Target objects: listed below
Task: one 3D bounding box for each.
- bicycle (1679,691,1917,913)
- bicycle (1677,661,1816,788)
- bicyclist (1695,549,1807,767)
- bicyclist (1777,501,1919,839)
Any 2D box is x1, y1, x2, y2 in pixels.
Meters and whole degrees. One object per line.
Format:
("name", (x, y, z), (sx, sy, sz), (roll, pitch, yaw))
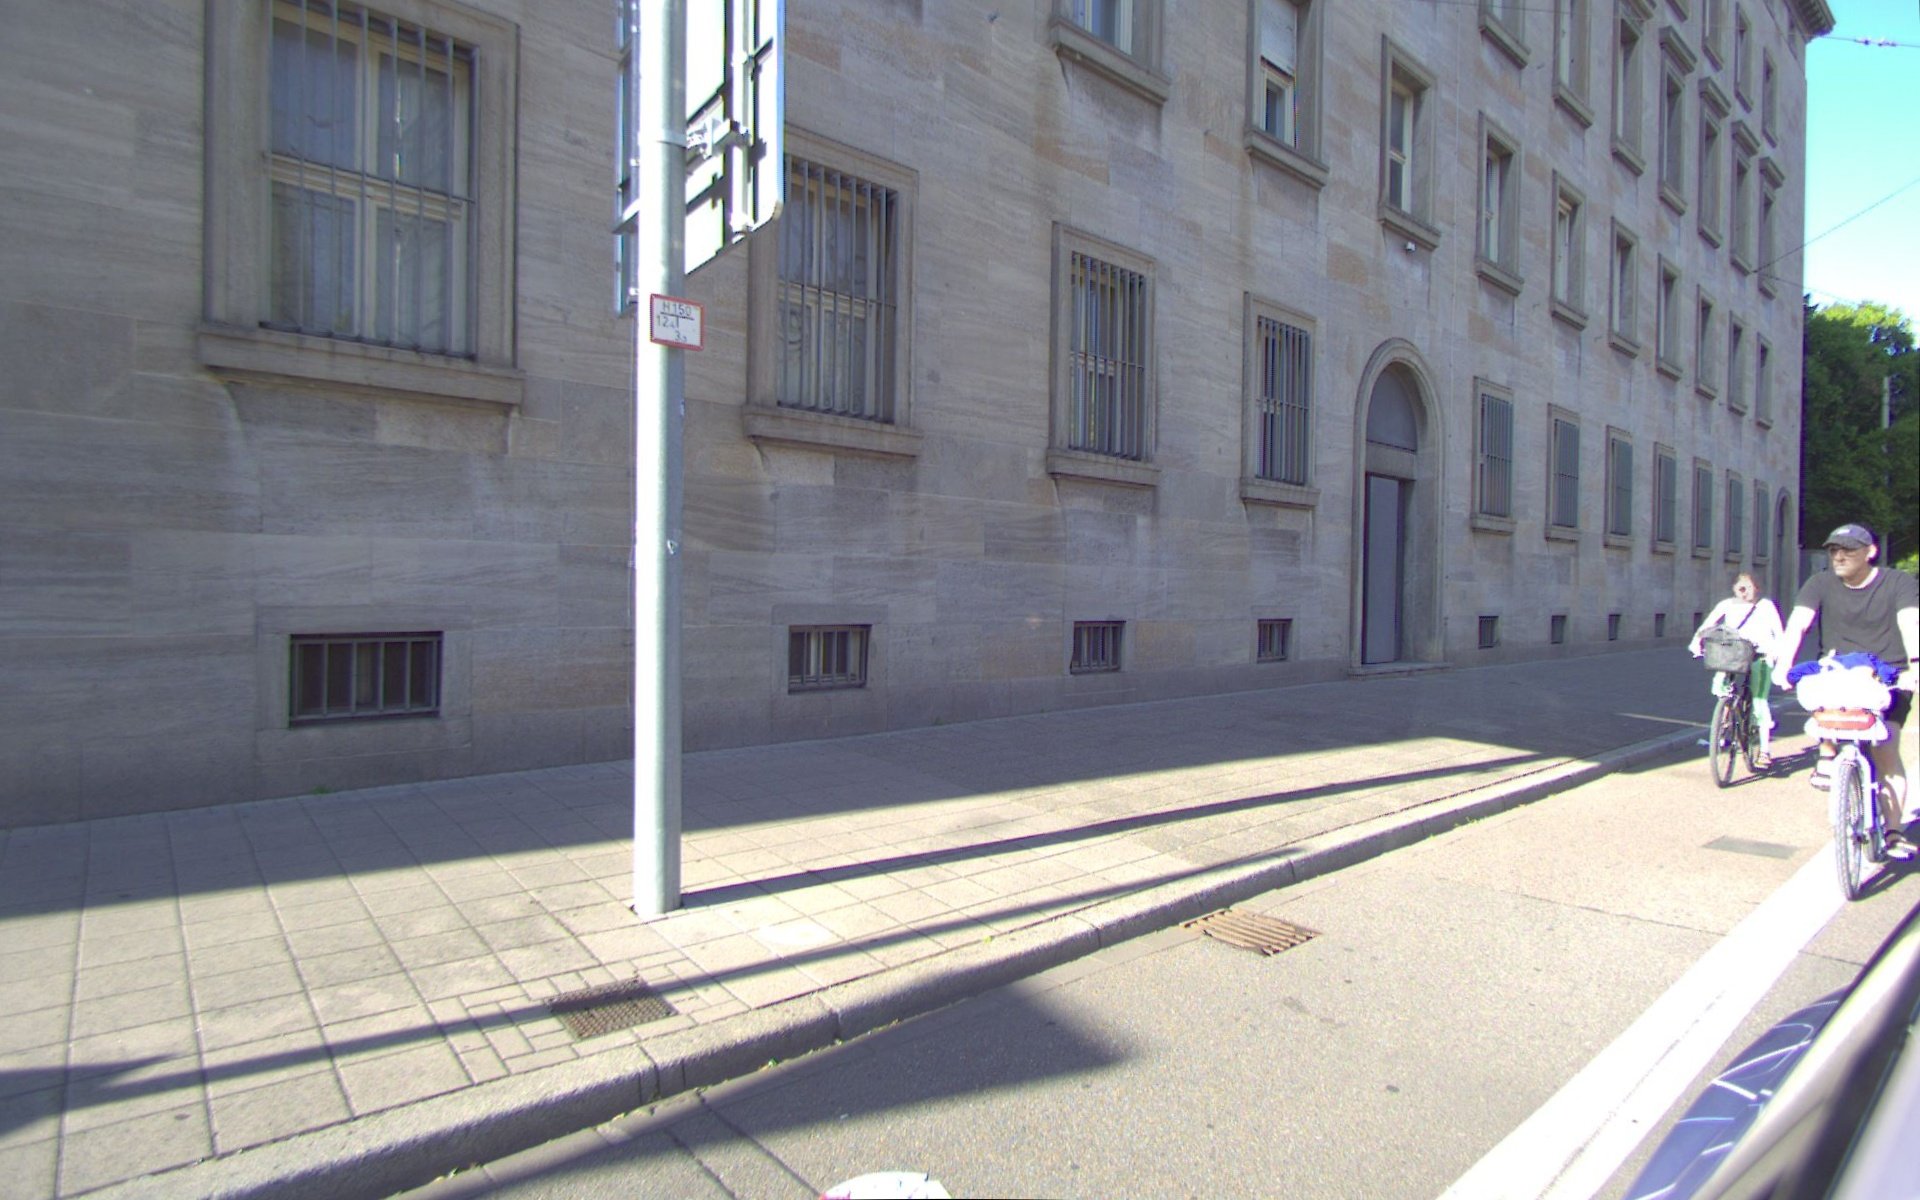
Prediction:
("bicycle", (4.529, 1.008, 5.422), (1.912, 0.916, 0.391), (0, 1, -32))
("bicycle", (6.495, 0.975, 8.320), (1.915, 0.887, 0.428), (2, 0, -38))
("bicyclist", (6.555, 0.448, 8.382), (0.843, 1.700, 0.523), (0, 1, -39))
("bicyclist", (4.959, 0.345, 5.475), (0.644, 1.699, 0.672), (0, 1, -36))
